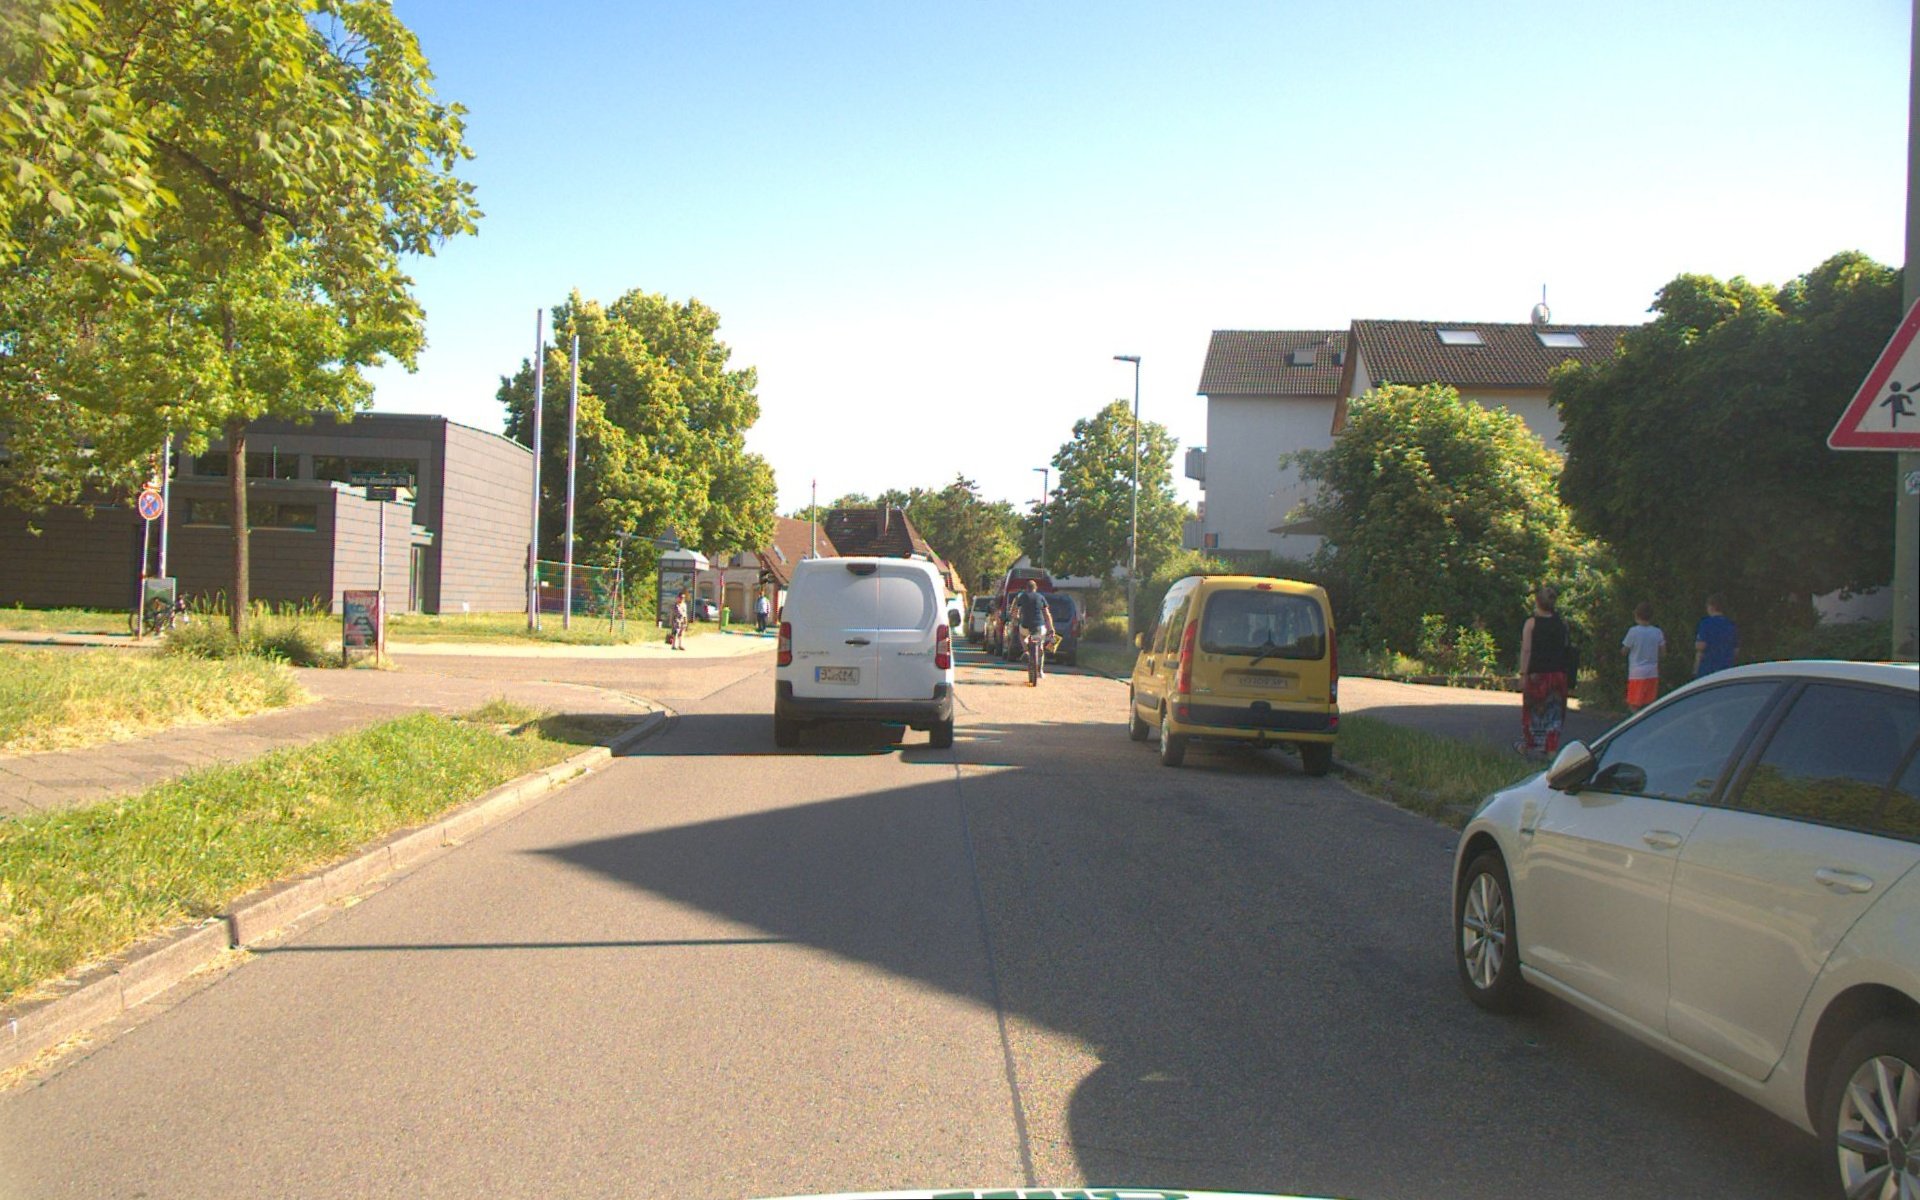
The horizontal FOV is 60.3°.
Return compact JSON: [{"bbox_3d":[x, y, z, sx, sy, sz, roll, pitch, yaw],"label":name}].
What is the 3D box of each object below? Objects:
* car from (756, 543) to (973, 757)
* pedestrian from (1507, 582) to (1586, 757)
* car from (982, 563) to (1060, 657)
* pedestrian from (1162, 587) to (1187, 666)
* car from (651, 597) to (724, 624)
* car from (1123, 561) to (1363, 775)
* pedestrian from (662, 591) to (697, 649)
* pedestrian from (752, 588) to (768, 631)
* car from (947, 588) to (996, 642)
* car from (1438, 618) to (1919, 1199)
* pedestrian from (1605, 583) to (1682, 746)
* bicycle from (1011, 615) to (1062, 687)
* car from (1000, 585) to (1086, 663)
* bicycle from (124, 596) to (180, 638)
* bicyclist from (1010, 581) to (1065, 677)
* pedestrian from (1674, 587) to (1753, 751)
[{"bbox_3d":[-0.914,0.457,17.520,1.953,1.914,4.288,2,0,-1],"label":"car"},{"bbox_3d":[5.737,0.666,16.191,0.555,1.665,0.547,2,0,4],"label":"pedestrian"},{"bbox_3d":[1.809,0.327,50.575,1.829,2.607,4.765,4,-1,-3],"label":"car"},{"bbox_3d":[5.146,0.623,39.677,0.474,1.863,0.486,-2,0,-3],"label":"pedestrian"},{"bbox_3d":[-16.276,0.644,98.890,3.893,1.454,1.716,2,0,16],"label":"car"},{"bbox_3d":[2.757,0.621,16.959,1.689,1.869,3.999,2,0,0],"label":"car"},{"bbox_3d":[-7.351,0.537,43.414,0.500,1.470,0.637,4,0,32],"label":"pedestrian"},{"bbox_3d":[-8.746,0.417,72.280,0.609,1.836,0.640,2,-1,-3],"label":"pedestrian"},{"bbox_3d":[0.458,0.637,69.772,1.768,2.104,3.997,4,-1,-3],"label":"car"},{"bbox_3d":[3.057,0.848,5.146,1.790,1.477,3.998,2,0,-3],"label":"car"},{"bbox_3d":[7.133,0.662,17.271,0.555,1.665,0.547,2,0,4],"label":"pedestrian"},{"bbox_3d":[1.318,0.866,28.864,0.770,1.158,2.280,3,0,1],"label":"bicycle"},{"bbox_3d":[2.137,0.626,43.503,1.768,1.816,3.997,4,-1,-3],"label":"car"},{"bbox_3d":[-17.731,0.367,36.293,0.432,0.903,1.012,2,1,44],"label":"bicycle"},{"bbox_3d":[1.349,0.498,28.877,0.887,1.612,0.966,2,-1,1],"label":"bicyclist"},{"bbox_3d":[7.825,0.704,17.190,0.555,1.665,0.547,2,0,4],"label":"pedestrian"}]
